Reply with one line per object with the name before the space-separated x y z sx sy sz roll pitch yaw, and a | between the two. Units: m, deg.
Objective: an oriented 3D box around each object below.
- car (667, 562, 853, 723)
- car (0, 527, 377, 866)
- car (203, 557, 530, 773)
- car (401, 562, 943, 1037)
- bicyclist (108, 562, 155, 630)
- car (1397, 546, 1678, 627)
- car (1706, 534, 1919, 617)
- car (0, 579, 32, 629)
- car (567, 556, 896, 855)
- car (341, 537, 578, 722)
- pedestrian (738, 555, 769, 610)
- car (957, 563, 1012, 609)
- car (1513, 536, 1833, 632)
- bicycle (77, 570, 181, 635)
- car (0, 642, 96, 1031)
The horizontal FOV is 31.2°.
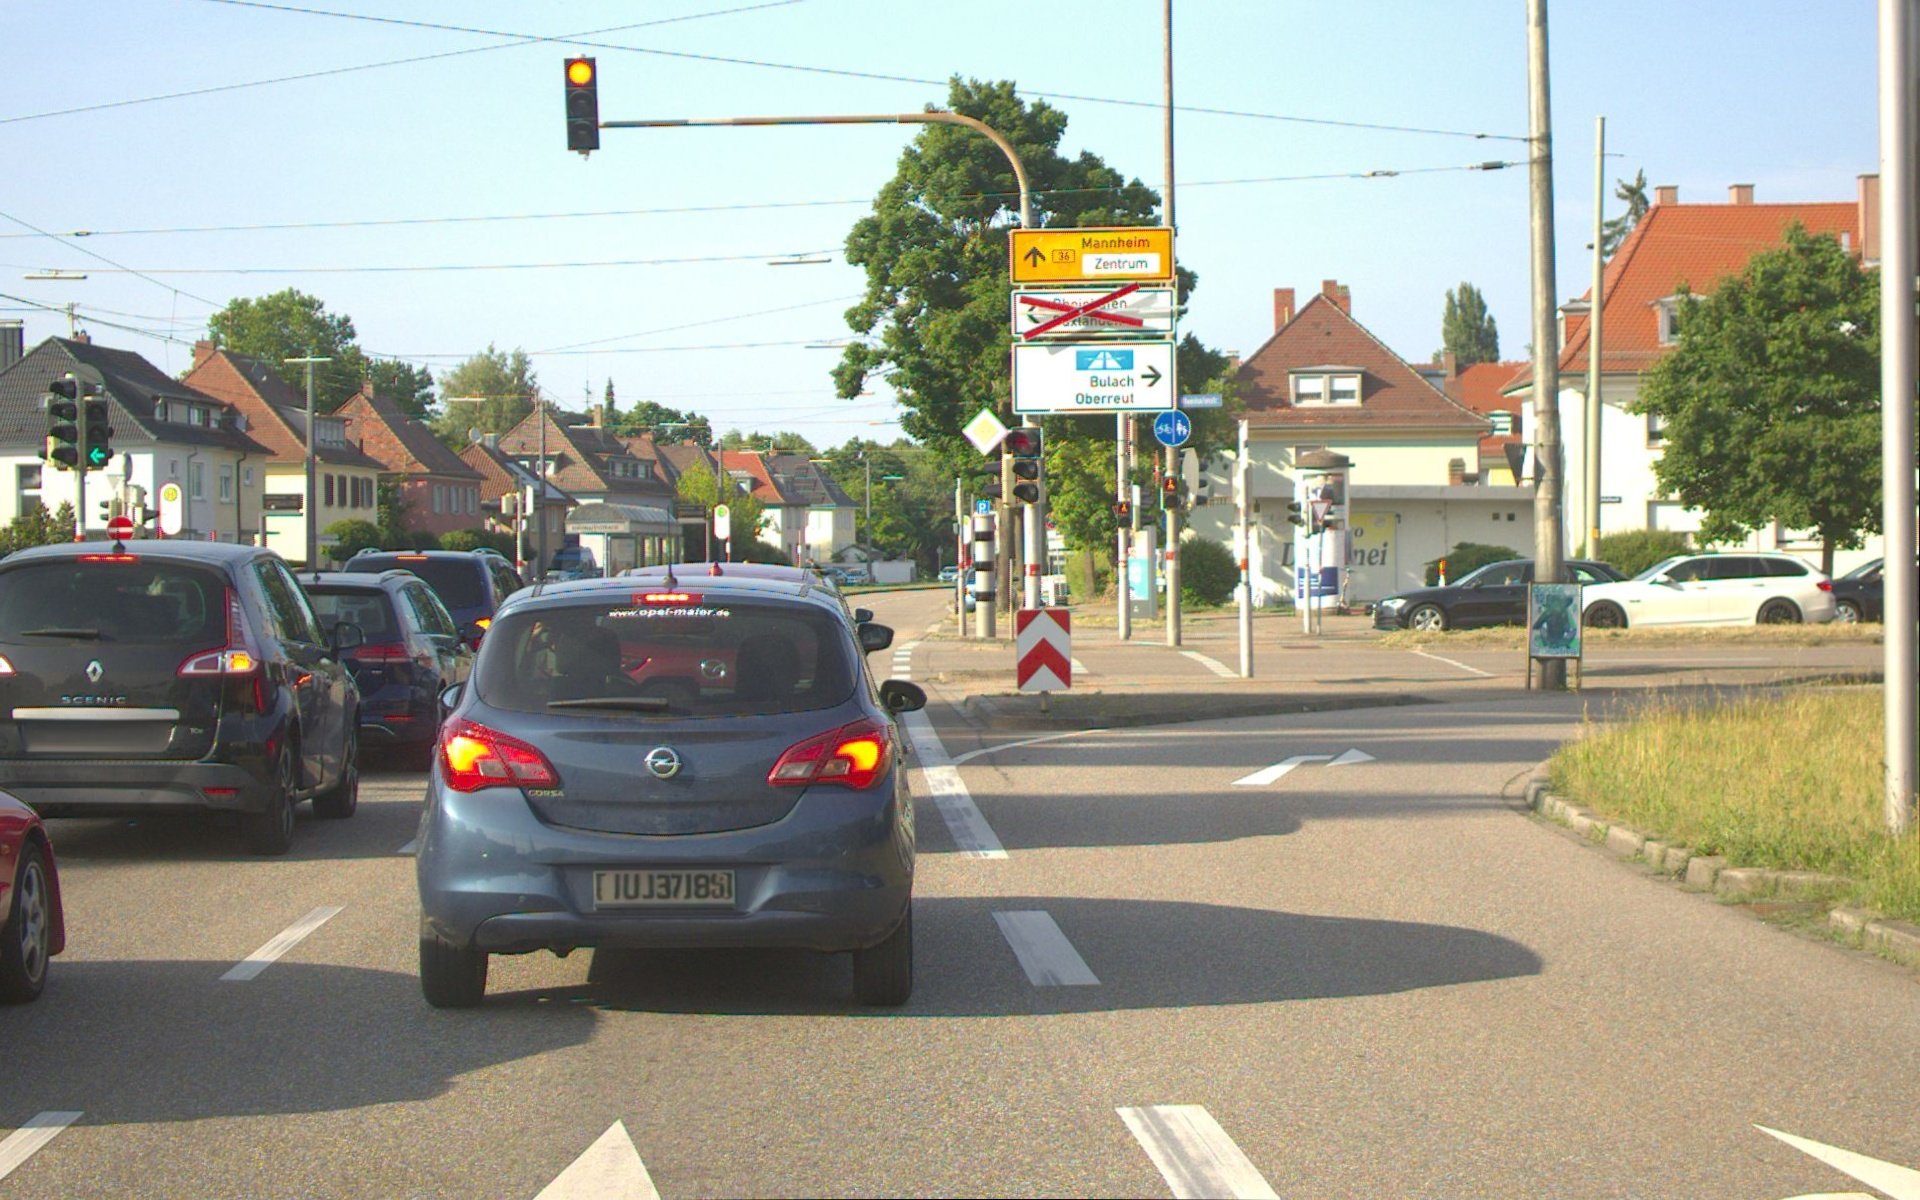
car | -1.906 0.360 33.125 1.656 1.438 4.015 -1 1 -3
car | -4.330 0.450 18.983 1.763 1.665 4.085 0 1 -3
car | -4.445 0.428 26.379 1.699 1.503 4.554 0 1 0
car | -1.050 0.621 13.240 1.741 1.500 4.223 0 1 -3
bicyclist | -17.759 -0.090 73.702 0.883 1.426 1.137 1 0 -9
car | 10.469 -0.252 62.522 4.824 1.406 1.716 -1 1 1
car | 15.708 -0.451 62.353 3.987 1.448 1.716 -1 1 1
car | -26.259 0.121 91.572 1.664 1.341 4.076 -1 0 5
car | -1.308 0.531 20.033 1.706 1.546 3.978 -1 1 -3
car | -4.778 0.234 33.384 1.506 1.645 4.744 -1 1 1
pedestrian | -5.622 -0.478 93.785 0.753 1.494 0.827 1 0 2
car | 0.749 -0.424 107.019 1.674 1.393 4.000 1 0 0
car | 12.164 -0.281 58.891 5.094 1.558 1.840 -1 1 1
bicycle | -17.808 0.064 73.702 2.073 1.343 1.109 1 0 -9
car | -3.898 0.768 10.475 1.731 1.202 3.847 1 1 -3
